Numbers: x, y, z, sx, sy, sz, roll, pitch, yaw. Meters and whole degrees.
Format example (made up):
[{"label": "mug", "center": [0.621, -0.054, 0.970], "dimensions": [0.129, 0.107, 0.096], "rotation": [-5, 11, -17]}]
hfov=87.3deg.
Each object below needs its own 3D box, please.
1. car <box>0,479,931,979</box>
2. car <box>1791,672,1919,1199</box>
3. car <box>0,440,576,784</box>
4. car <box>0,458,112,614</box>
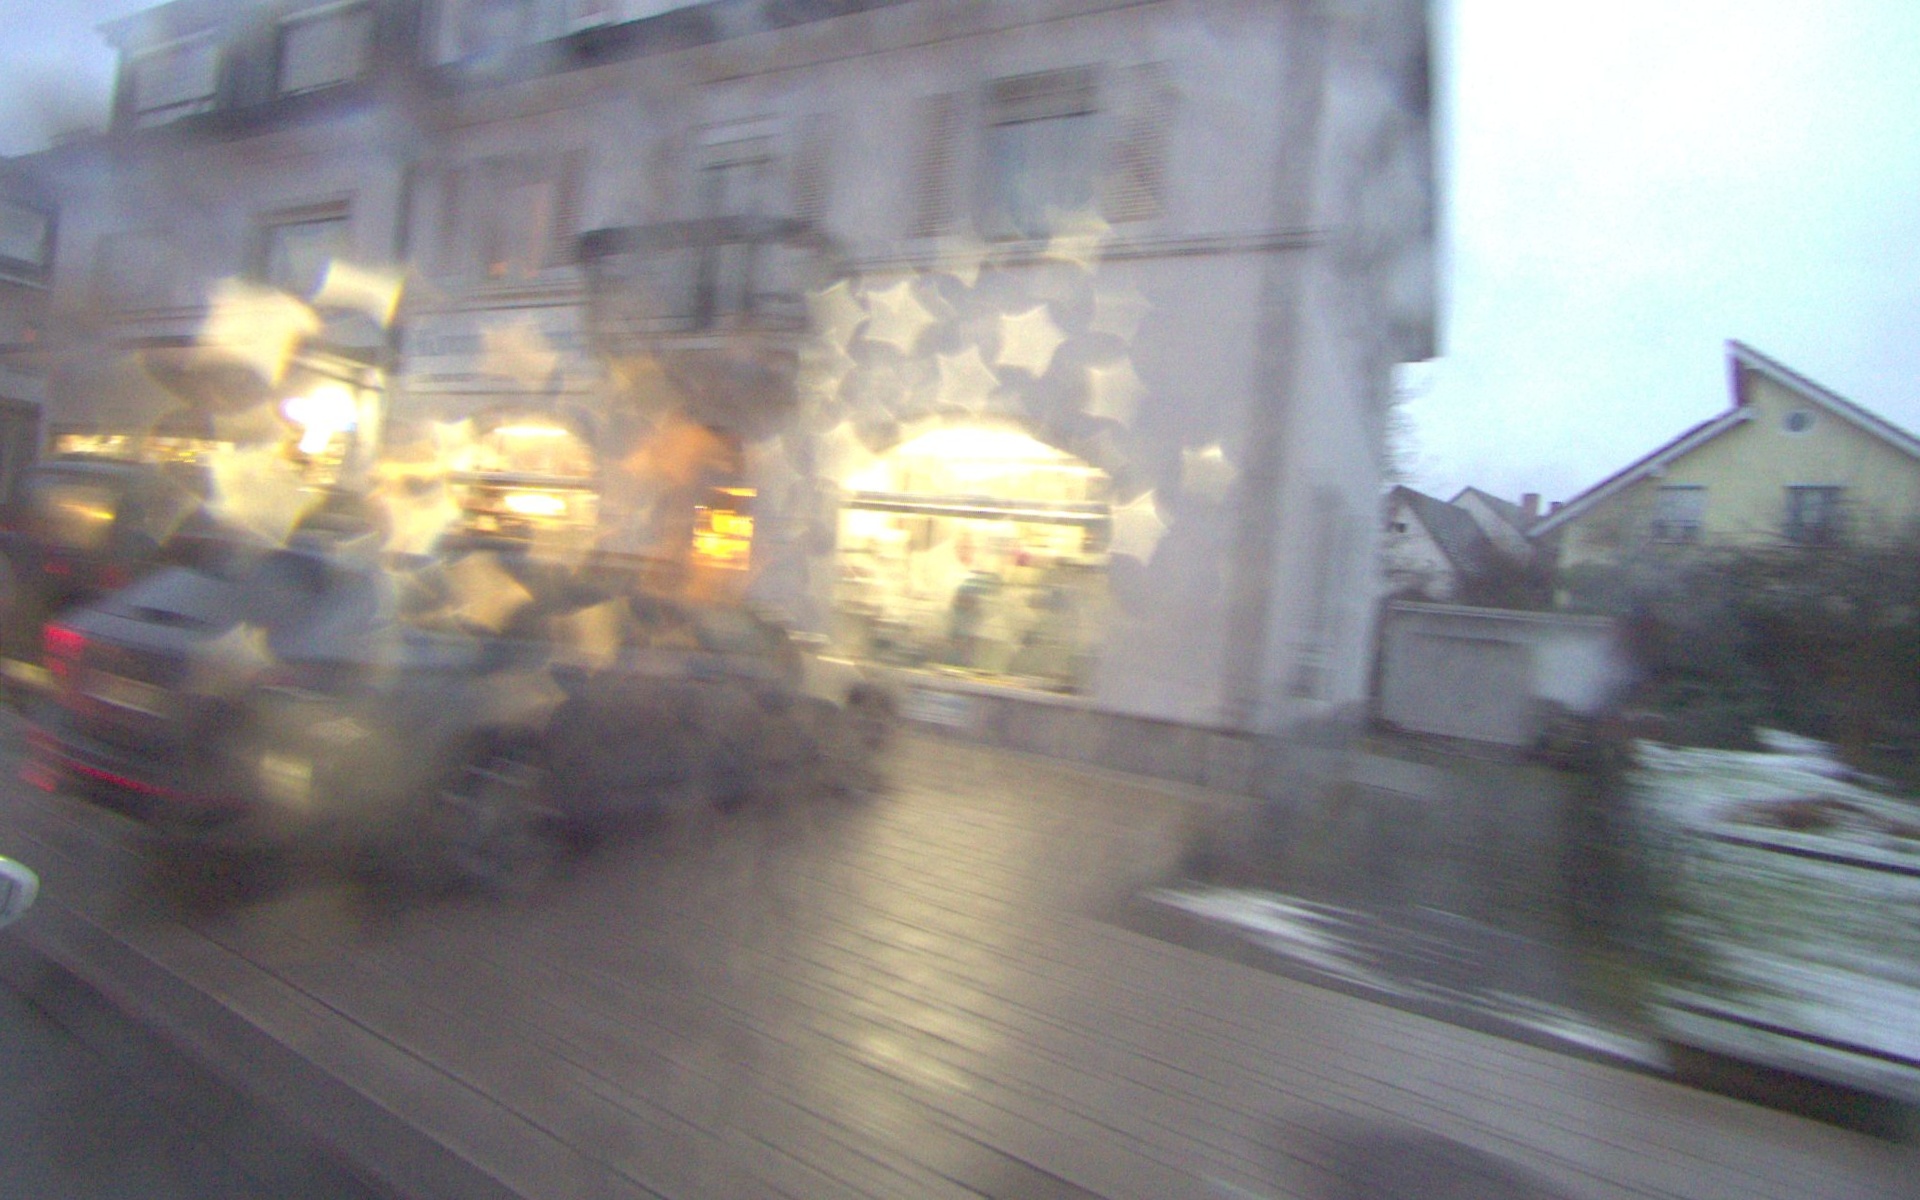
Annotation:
[{"label": "car", "center": [-2.133, 0.450, 5.575], "dimensions": [1.865, 1.492, 4.473], "rotation": [7, 1, 28]}, {"label": "car", "center": [3.670, 1.152, 0.567], "dimensions": [4.593, 1.567, 1.884], "rotation": [7, 1, 32]}, {"label": "car", "center": [-4.676, 0.028, 6.946], "dimensions": [1.685, 1.703, 3.511], "rotation": [7, 2, 24]}, {"label": "car", "center": [-12.687, -0.946, 11.102], "dimensions": [1.910, 1.798, 4.615], "rotation": [7, 0, 24]}]
